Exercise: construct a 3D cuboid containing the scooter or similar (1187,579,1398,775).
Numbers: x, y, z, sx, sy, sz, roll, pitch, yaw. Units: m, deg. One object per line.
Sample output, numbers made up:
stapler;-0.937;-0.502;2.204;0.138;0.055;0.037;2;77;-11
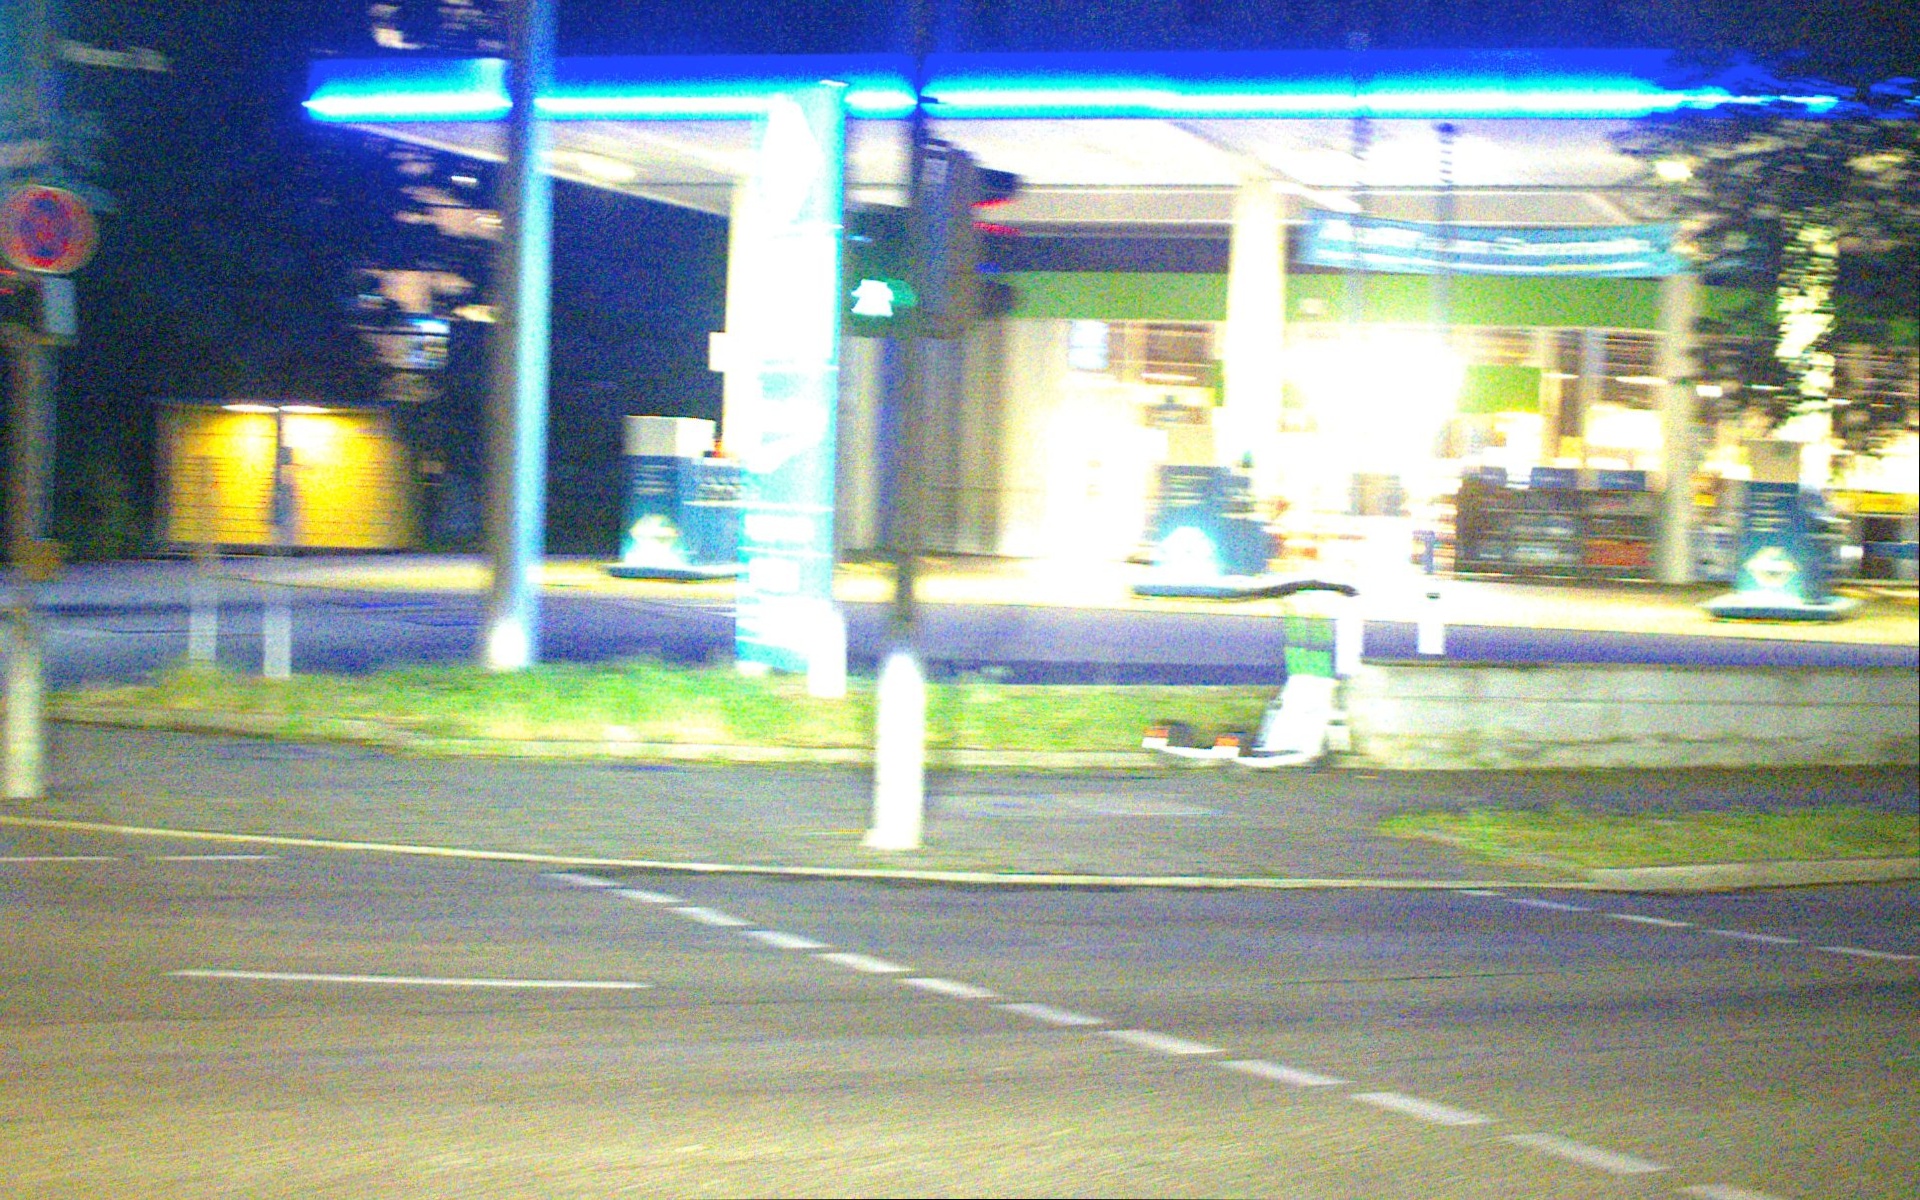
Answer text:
scooter or similar;2.045;0.445;20.960;0.715;1.088;1.678;2;2;26
